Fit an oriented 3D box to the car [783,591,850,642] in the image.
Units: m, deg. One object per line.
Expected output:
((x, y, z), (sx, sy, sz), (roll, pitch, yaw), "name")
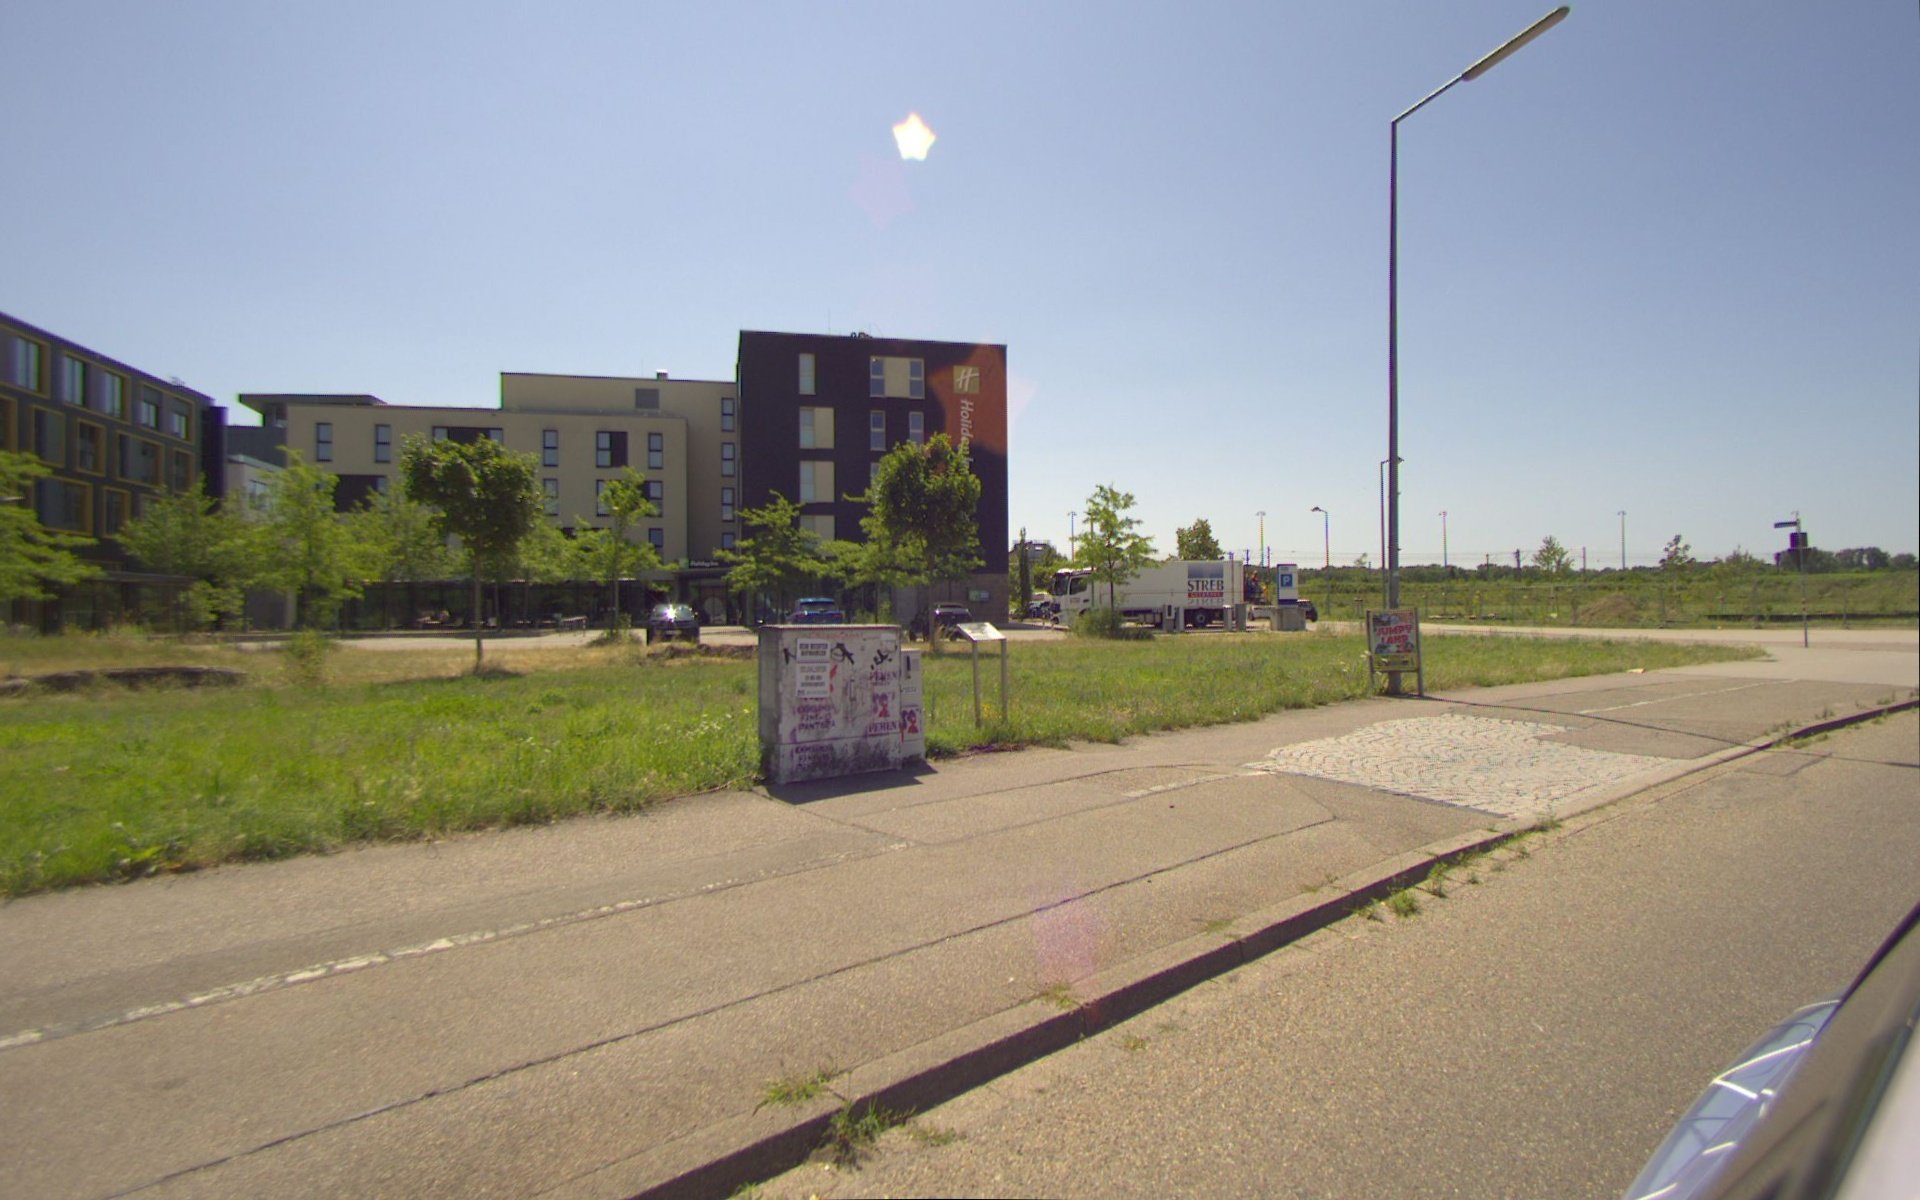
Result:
((-5.153, 0.553, 35.888), (1.913, 1.673, 4.079), (0, 0, -14), "car")

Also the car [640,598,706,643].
((-9.908, 0.664, 34.773), (1.921, 1.463, 4.134), (0, 0, -19), "car")

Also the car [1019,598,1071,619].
((7.061, 0.704, 83.896), (3.933, 1.721, 1.678), (0, 0, -16), "car")

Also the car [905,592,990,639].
((-0.542, 0.516, 36.214), (1.989, 1.582, 4.517), (0, 0, -15), "car")

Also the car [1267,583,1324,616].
((21.663, -0.018, 65.502), (1.841, 2.039, 3.923), (0, 0, -11), "car")

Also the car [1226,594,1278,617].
((20.354, 0.399, 70.676), (1.712, 1.577, 4.052), (0, 0, -13), "car")

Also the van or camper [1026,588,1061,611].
((9.519, -0.024, 115.549), (2.353, 2.567, 5.447), (0, 0, -14), "van or camper")

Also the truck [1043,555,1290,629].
((10.288, -0.454, 50.626), (11.886, 3.505, 3.025), (0, 1, -12), "truck")
